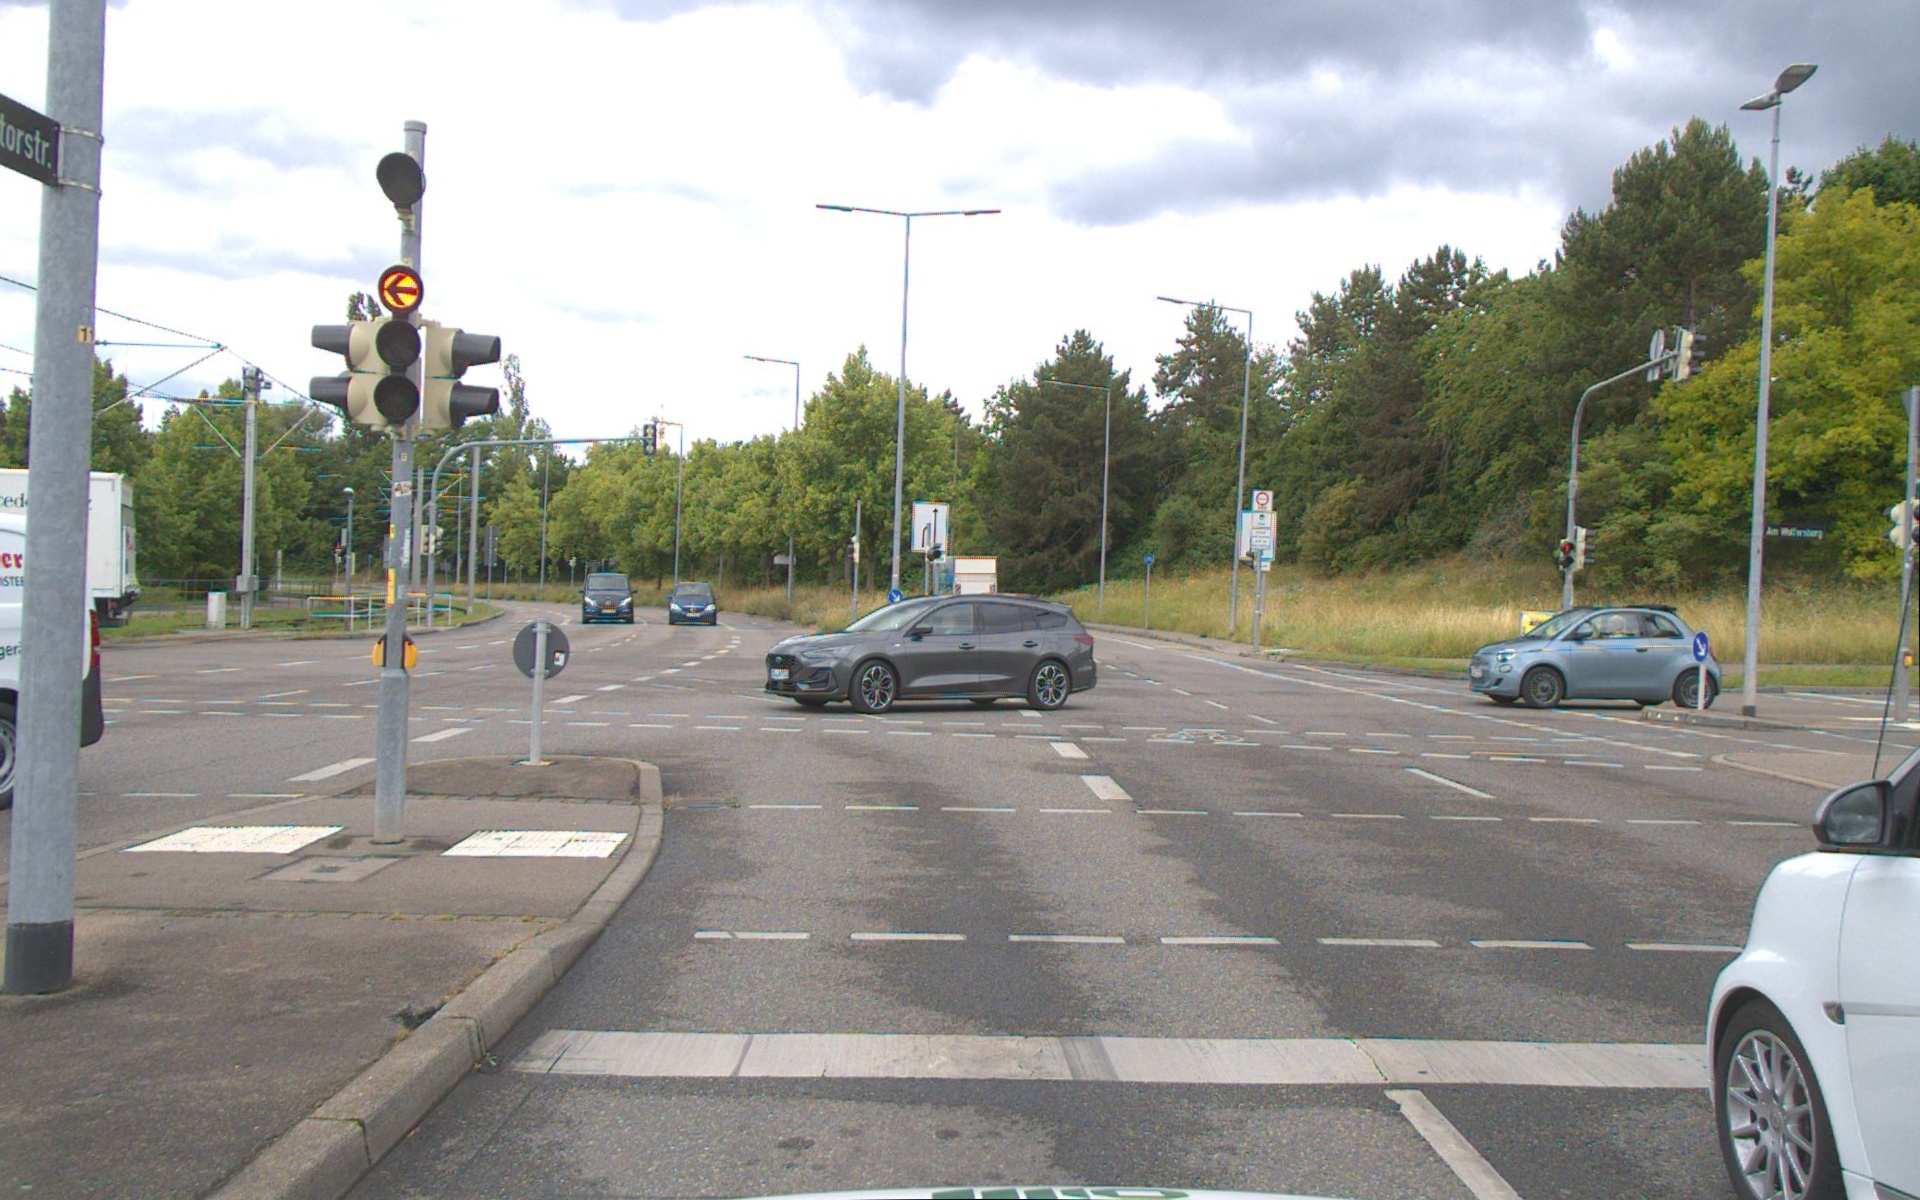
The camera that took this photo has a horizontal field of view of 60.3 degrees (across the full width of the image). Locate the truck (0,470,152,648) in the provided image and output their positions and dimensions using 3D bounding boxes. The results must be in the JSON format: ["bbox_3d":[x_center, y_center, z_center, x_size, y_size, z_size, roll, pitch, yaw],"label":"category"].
[{"bbox_3d":[-21.819,-0.877,34.055,9.133,3.594,2.994,1,0,-25],"label":"truck"}]

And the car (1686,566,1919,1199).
[{"bbox_3d":[2.729,0.714,3.055,1.559,1.542,2.766,1,0,0],"label":"car"}]

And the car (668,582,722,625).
[{"bbox_3d":[-9.876,0.118,61.814,1.702,1.535,3.656,1,0,-5],"label":"car"}]

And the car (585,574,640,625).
[{"bbox_3d":[-13.248,-0.024,63.231,1.853,1.844,5.081,0,0,-10],"label":"car"}]

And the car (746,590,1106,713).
[{"bbox_3d":[-0.394,0.644,21.499,4.376,1.449,1.856,1,0,-33],"label":"car"}]

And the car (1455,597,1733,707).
[{"bbox_3d":[9.524,0.764,25.031,3.516,1.555,1.761,1,0,-1],"label":"car"}]

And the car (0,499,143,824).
[{"bbox_3d":[-7.223,0.349,8.930,1.874,1.998,5.376,1,0,16],"label":"car"}]

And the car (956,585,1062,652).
[{"bbox_3d":[1.325,0.467,43.088,1.747,1.631,3.889,1,0,18],"label":"car"}]

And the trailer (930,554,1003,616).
[{"bbox_3d":[0.272,-0.733,86.277,2.697,3.065,6.072,1,0,-10],"label":"trailer"}]
